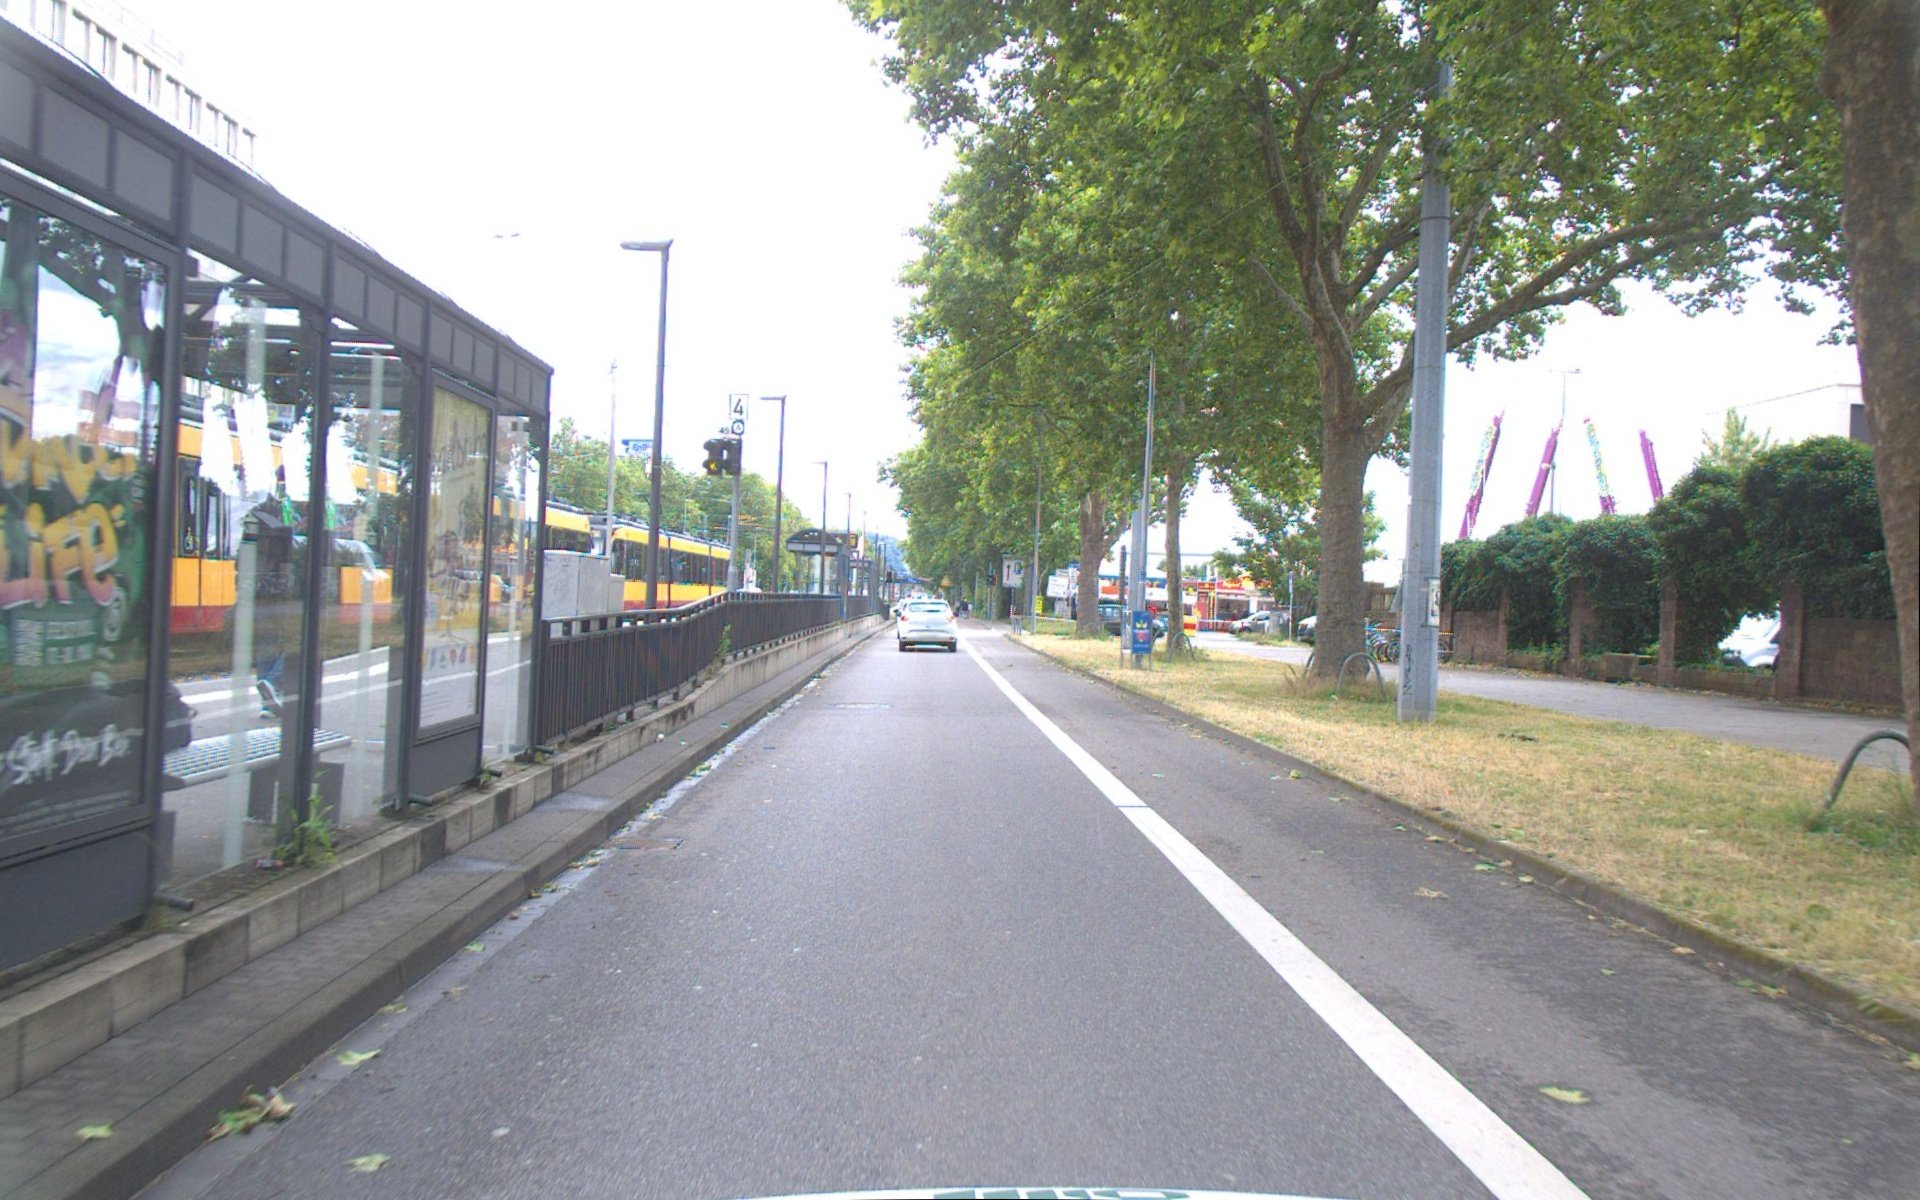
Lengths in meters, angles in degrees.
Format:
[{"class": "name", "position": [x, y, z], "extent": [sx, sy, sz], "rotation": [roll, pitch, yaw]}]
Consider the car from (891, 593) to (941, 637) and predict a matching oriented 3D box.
[{"class": "car", "position": [-1.678, 0.566, 64.276], "extent": [1.803, 1.579, 4.000], "rotation": [2, 0, 0]}]

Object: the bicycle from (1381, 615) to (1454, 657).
[{"class": "bicycle", "position": [12.512, 0.979, 45.268], "extent": [1.852, 1.124, 0.549], "rotation": [1, -1, -3]}]

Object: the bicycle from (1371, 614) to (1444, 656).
[{"class": "bicycle", "position": [12.392, 0.969, 45.841], "extent": [1.862, 1.116, 0.549], "rotation": [1, -1, -3]}]

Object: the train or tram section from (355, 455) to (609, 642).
[{"class": "train or tram section", "position": [-12.596, -1.144, 45.392], "extent": [3.116, 4.252, 13.616], "rotation": [2, -1, -1]}]

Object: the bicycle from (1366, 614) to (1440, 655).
[{"class": "bicycle", "position": [12.436, 0.965, 46.481], "extent": [1.935, 1.114, 0.549], "rotation": [1, -1, -3]}]

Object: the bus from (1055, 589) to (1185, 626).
[{"class": "bus", "position": [11.545, 0.552, 119.798], "extent": [9.094, 2.266, 1.998], "rotation": [2, -1, -4]}]

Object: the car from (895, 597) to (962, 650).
[{"class": "car", "position": [-0.903, 0.692, 49.870], "extent": [1.846, 1.478, 4.000], "rotation": [2, -1, 1]}]

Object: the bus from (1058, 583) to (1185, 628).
[{"class": "bus", "position": [11.982, 0.404, 122.796], "extent": [9.094, 3.011, 1.998], "rotation": [2, -1, -4]}]

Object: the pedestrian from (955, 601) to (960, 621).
[{"class": "pedestrian", "position": [-0.269, 1.135, 170.027], "extent": [0.387, 2.049, 0.403], "rotation": [2, -1, 14]}]

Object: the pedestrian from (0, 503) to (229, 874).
[{"class": "pedestrian", "position": [-3.349, 0.318, 6.298], "extent": [0.818, 1.326, 0.613], "rotation": [2, -1, -3]}]

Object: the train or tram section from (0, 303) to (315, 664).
[{"class": "train or tram section", "position": [-12.140, -1.288, 21.461], "extent": [3.172, 3.929, 11.308], "rotation": [2, -1, -1]}]

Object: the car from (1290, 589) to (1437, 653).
[{"class": "car", "position": [17.780, 0.921, 73.077], "extent": [5.903, 2.600, 2.099], "rotation": [2, -1, -3]}]

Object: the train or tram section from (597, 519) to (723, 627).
[{"class": "train or tram section", "position": [-13.197, -1.037, 74.311], "extent": [3.116, 4.252, 14.729], "rotation": [2, -1, -1]}]

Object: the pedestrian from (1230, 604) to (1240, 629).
[{"class": "pedestrian", "position": [19.202, 1.178, 115.578], "extent": [0.514, 1.716, 0.492], "rotation": [2, -1, -18]}]

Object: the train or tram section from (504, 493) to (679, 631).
[{"class": "train or tram section", "position": [-12.888, -1.150, 59.569], "extent": [3.116, 4.252, 14.729], "rotation": [2, -1, -1]}]

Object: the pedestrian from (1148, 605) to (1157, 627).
[{"class": "pedestrian", "position": [13.221, 1.076, 113.568], "extent": [0.483, 1.488, 0.523], "rotation": [2, -1, -4]}]

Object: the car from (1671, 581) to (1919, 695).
[{"class": "car", "position": [19.320, 0.879, 38.252], "extent": [4.995, 2.304, 1.664], "rotation": [3, -1, -4]}]

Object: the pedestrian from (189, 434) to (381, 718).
[{"class": "pedestrian", "position": [-5.099, -0.171, 12.552], "extent": [1.037, 2.049, 0.840], "rotation": [2, -1, -2]}]

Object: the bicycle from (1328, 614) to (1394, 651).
[{"class": "bicycle", "position": [12.222, 0.985, 50.417], "extent": [1.883, 1.110, 0.549], "rotation": [1, -1, -3]}]

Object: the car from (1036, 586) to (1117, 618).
[{"class": "car", "position": [5.788, 0.095, 82.611], "extent": [3.904, 1.512, 1.787], "rotation": [2, 0, 1]}]

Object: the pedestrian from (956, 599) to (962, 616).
[{"class": "pedestrian", "position": [-0.050, 0.692, 146.178], "extent": [0.387, 1.470, 0.564], "rotation": [2, -1, 11]}]

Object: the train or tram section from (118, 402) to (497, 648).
[{"class": "train or tram section", "position": [-12.331, -1.194, 32.899], "extent": [3.099, 3.929, 11.308], "rotation": [2, -1, -1]}]

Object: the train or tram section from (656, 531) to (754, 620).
[{"class": "train or tram section", "position": [-13.483, -1.157, 88.980], "extent": [3.116, 4.252, 14.729], "rotation": [2, -1, -1]}]

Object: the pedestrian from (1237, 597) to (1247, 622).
[{"class": "pedestrian", "position": [19.771, 0.648, 115.912], "extent": [0.514, 1.716, 0.492], "rotation": [2, -1, -18]}]

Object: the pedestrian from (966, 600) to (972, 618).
[{"class": "pedestrian", "position": [0.772, 0.774, 146.056], "extent": [0.387, 1.613, 0.538], "rotation": [2, -1, 11]}]
